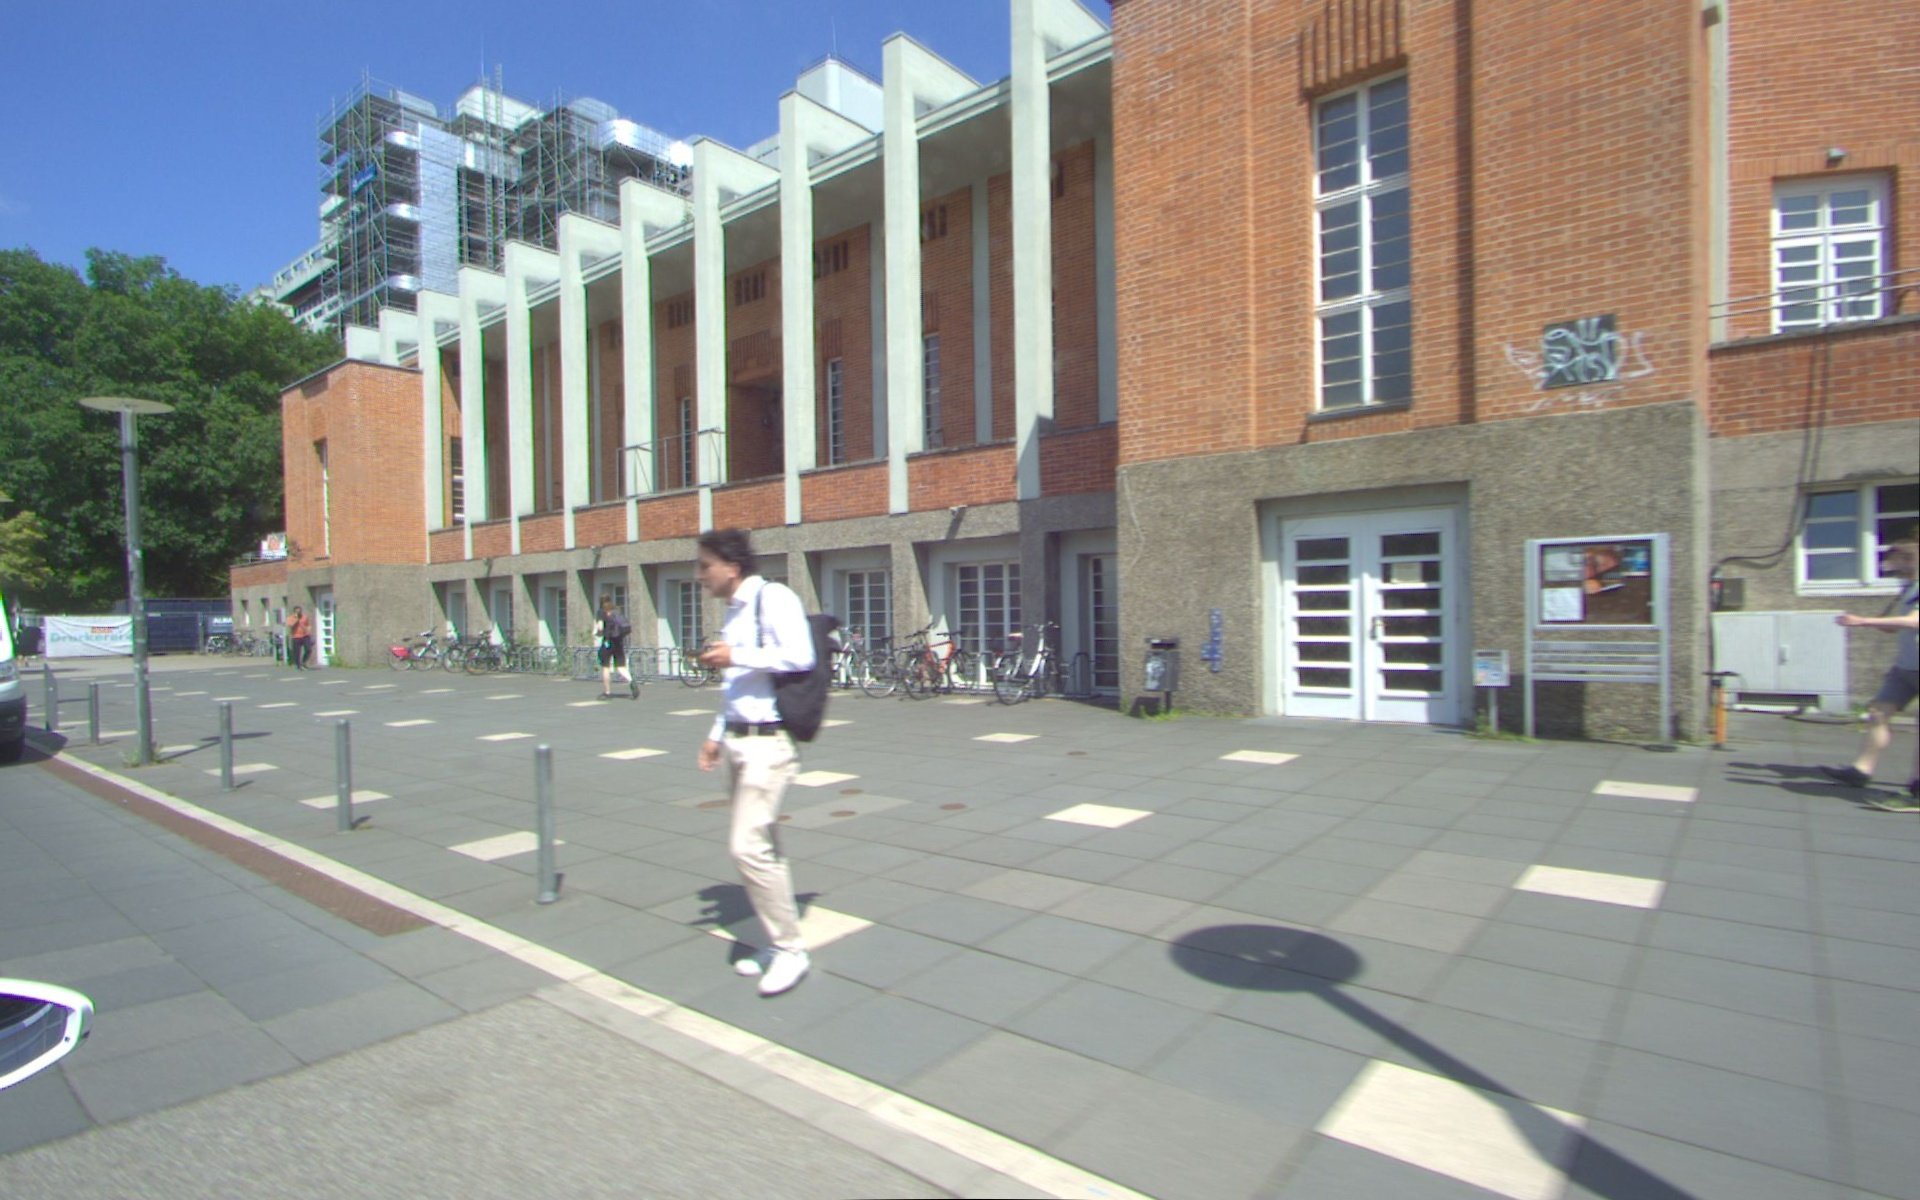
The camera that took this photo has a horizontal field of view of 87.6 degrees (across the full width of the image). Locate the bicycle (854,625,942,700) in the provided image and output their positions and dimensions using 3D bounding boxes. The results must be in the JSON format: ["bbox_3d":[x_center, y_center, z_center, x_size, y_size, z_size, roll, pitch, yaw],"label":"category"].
[{"bbox_3d":[-0.983,0.981,16.225,0.430,1.124,1.644,-1,0,38],"label":"bicycle"}]

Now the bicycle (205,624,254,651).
[{"bbox_3d":[-32.182,1.653,44.117,0.442,1.124,1.694,-1,0,40],"label":"bicycle"}]

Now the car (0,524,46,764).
[{"bbox_3d":[-12.999,0.525,12.029,5.777,2.577,2.051,-1,0,38],"label":"car"}]

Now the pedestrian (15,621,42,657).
[{"bbox_3d":[-35.572,1.467,38.256,0.708,1.348,0.692,-1,0,42],"label":"pedestrian"}]

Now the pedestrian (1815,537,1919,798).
[{"bbox_3d":[6.578,0.446,6.855,0.988,1.729,0.583,-2,0,32],"label":"pedestrian"}]

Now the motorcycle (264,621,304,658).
[{"bbox_3d":[-24.801,1.433,36.731,2.195,1.340,0.692,-1,0,42],"label":"motorcycle"}]

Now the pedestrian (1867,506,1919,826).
[{"bbox_3d":[6.293,0.380,6.032,1.094,1.915,0.662,-2,0,32],"label":"pedestrian"}]

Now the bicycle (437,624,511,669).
[{"bbox_3d":[-12.816,1.208,26.450,0.430,1.124,1.740,-1,0,38],"label":"bicycle"}]

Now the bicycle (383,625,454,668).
[{"bbox_3d":[-15.418,1.310,28.525,0.430,1.165,1.746,-1,0,38],"label":"bicycle"}]

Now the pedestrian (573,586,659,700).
[{"bbox_3d":[-5.850,0.721,17.024,1.181,1.858,0.841,-1,0,35],"label":"pedestrian"}]

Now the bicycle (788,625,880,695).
[{"bbox_3d":[-2.153,1.007,17.334,0.430,1.124,1.790,-1,0,38],"label":"bicycle"}]

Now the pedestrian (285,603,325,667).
[{"bbox_3d":[-19.216,1.017,29.377,0.893,1.858,0.661,-1,0,32],"label":"pedestrian"}]

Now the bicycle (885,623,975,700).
[{"bbox_3d":[-0.450,0.943,15.790,0.430,1.124,1.688,-1,0,38],"label":"bicycle"}]

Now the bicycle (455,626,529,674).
[{"bbox_3d":[-11.815,1.246,25.332,0.430,1.124,1.676,-1,0,38],"label":"bicycle"}]

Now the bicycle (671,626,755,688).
[{"bbox_3d":[-4.803,1.094,19.537,0.430,1.124,1.676,-1,0,38],"label":"bicycle"}]

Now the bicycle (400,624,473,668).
[{"bbox_3d":[-14.620,1.279,27.985,0.511,1.165,1.746,-1,0,38],"label":"bicycle"}]

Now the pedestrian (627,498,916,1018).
[{"bbox_3d":[-0.822,0.558,4.190,1.007,1.873,0.913,-2,1,-20],"label":"pedestrian"}]

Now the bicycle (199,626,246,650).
[{"bbox_3d":[-33.768,1.734,45.850,0.442,1.016,1.664,-1,0,40],"label":"bicycle"}]

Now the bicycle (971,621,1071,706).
[{"bbox_3d":[0.917,0.892,14.642,0.451,1.124,1.922,-1,0,38],"label":"bicycle"}]

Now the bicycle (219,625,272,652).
[{"bbox_3d":[-30.582,1.641,42.860,0.442,1.124,1.798,-1,0,40],"label":"bicycle"}]

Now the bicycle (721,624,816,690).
[{"bbox_3d":[-3.505,1.021,18.510,0.430,1.124,1.904,-1,0,38],"label":"bicycle"}]
